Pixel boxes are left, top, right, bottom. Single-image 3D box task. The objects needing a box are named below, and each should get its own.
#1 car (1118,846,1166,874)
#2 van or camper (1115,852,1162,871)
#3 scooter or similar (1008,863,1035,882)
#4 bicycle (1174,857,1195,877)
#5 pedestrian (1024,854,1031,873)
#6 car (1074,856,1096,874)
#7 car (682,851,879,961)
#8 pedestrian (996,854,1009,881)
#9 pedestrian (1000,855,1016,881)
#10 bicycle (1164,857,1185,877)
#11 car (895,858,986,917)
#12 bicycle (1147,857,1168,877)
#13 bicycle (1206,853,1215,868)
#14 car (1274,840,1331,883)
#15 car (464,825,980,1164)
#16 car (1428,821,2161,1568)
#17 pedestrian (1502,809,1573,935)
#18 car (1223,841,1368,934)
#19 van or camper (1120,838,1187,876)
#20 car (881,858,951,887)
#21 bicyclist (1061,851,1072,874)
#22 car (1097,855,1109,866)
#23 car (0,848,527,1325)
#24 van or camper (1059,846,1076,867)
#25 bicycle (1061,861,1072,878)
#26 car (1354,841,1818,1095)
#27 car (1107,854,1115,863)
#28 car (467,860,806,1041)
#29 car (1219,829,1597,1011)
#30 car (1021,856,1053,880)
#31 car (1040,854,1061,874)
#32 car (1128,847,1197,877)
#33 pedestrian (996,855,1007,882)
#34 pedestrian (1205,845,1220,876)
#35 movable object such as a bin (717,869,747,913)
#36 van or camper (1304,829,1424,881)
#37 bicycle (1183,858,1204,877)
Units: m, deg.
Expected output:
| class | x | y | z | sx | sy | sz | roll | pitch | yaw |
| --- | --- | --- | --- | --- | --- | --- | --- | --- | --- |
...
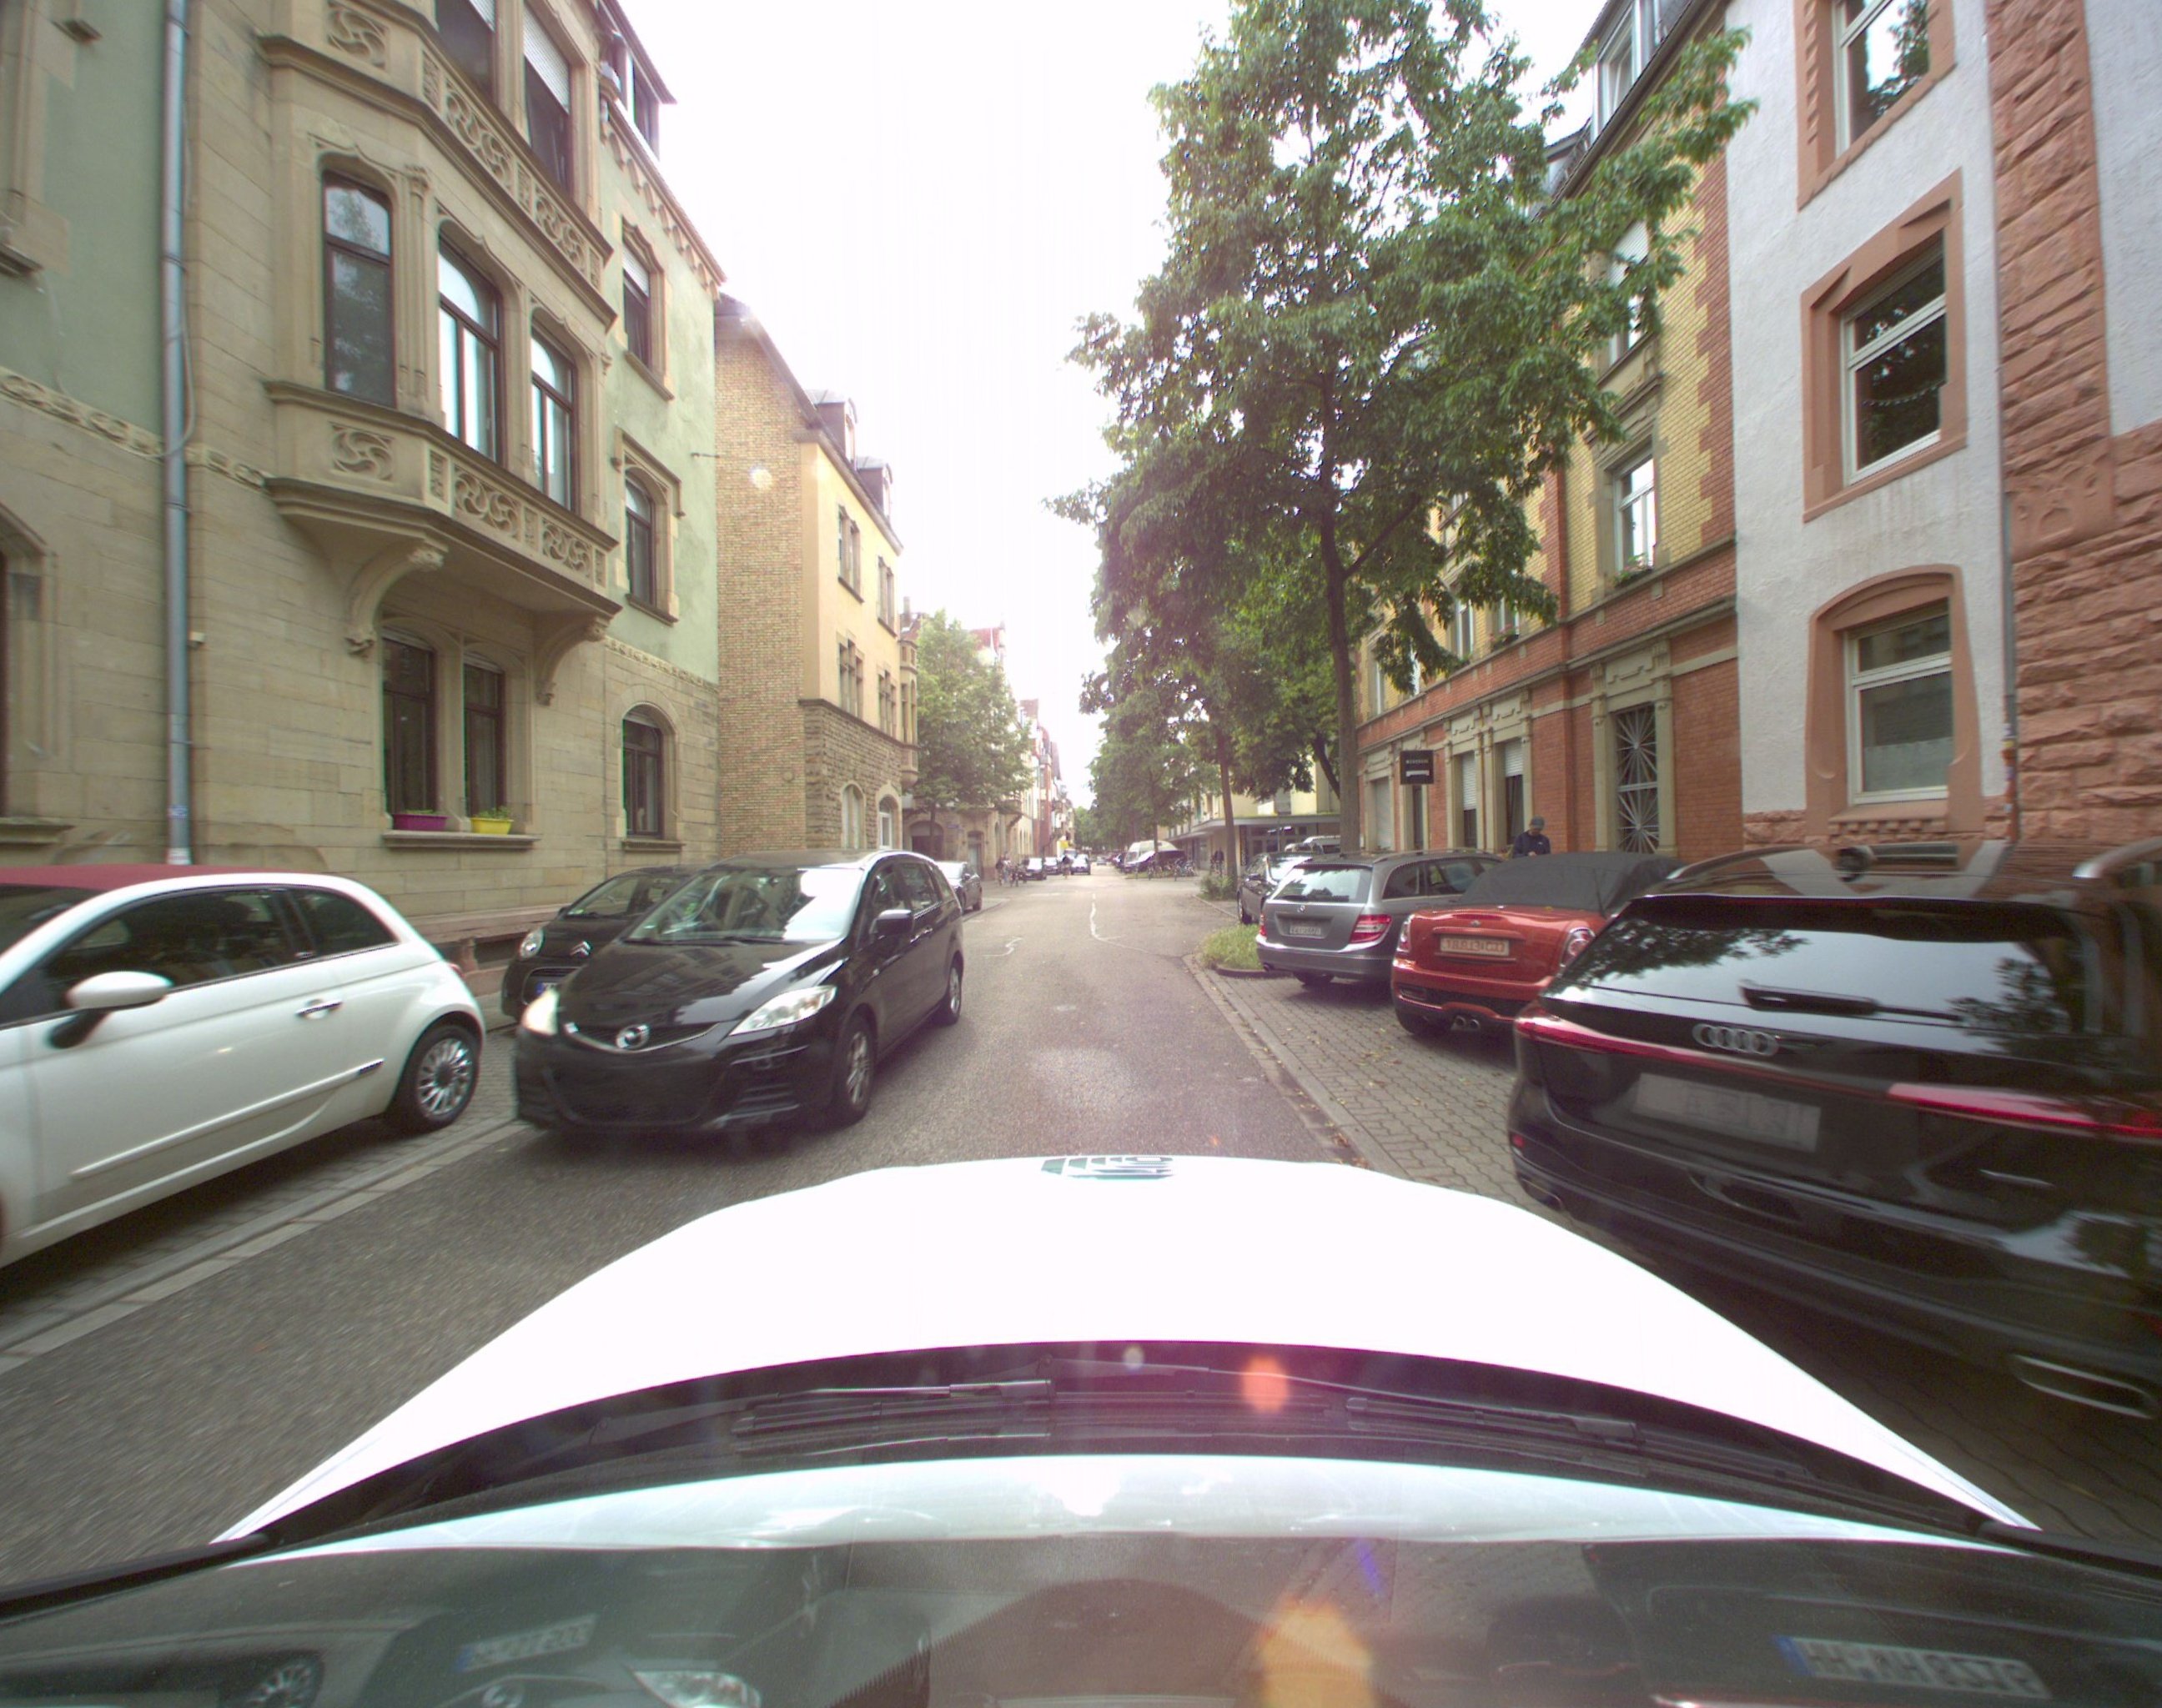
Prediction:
| class | x | y | z | sx | sy | sz | roll | pitch | yaw |
| --- | --- | --- | --- | --- | --- | --- | --- | --- | --- |
| car | 5.112 | 0.471 | 67.967 | 2.040 | 2.196 | 4.427 | -2 | 0 | 34 |
| van or camper | 6.586 | 0.835 | 93.245 | 5.033 | 1.869 | 2.109 | -3 | -1 | -26 |
| scooter or similar | -3.536 | 1.079 | 48.598 | 1.459 | 1.104 | 0.678 | 1 | 0 | 13 |
| bicycle | 6.383 | 0.810 | 50.224 | 0.550 | 1.173 | 1.717 | -1 | 0 | -20 |
| pedestrian | -4.345 | 0.784 | 65.880 | 0.513 | 1.518 | 0.547 | -1 | 0 | 1 |
| car | 0.348 | 0.978 | 69.159 | 1.701 | 1.413 | 3.854 | -2 | -1 | 2 |
| car | -4.416 | 0.681 | 12.585 | 1.584 | 1.434 | 3.810 | 0 | 0 | 0 |
| pedestrian | -4.713 | 0.806 | 49.088 | 0.612 | 1.643 | 0.605 | -1 | 0 | 13 |
| pedestrian | -4.463 | 0.834 | 49.815 | 0.623 | 1.593 | 0.674 | -1 | 0 | 42 |
| bicycle | 5.722 | 0.801 | 49.905 | 0.550 | 1.173 | 1.717 | -1 | 0 | -20 |
| car | -3.770 | 0.850 | 22.458 | 1.721 | 1.434 | 3.883 | 0 | 0 | 2 |
| bicycle | 4.595 | 0.782 | 49.067 | 0.550 | 1.173 | 1.717 | -1 | 0 | -20 |
| bicycle | 9.982 | 0.509 | 62.821 | 0.482 | 1.090 | 1.702 | -1 | 0 | 4 |
| car | 10.194 | 0.335 | 37.773 | 1.762 | 1.819 | 4.004 | -2 | 0 | 4 |
| car | -2.041 | 0.711 | 6.102 | 1.802 | 1.630 | 4.210 | -1 | -1 | 3 |
| car | 3.325 | 0.635 | 3.214 | 3.705 | 1.466 | 1.689 | -2 | 0 | -30 |
| pedestrian | 6.533 | 0.247 | 11.692 | 0.595 | 1.733 | 0.663 | -2 | 0 | 0 |
| car | 4.070 | 0.579 | 16.221 | 1.758 | 1.486 | 4.481 | -3 | 0 | 1 |
| van or camper | 5.283 | 0.177 | 59.178 | 4.612 | 2.596 | 1.892 | -2 | 0 | -31 |
| car | -9.563 | 1.071 | 47.402 | 3.546 | 1.460 | 1.655 | -2 | 2 | 10 |
| bicyclist | -1.020 | 0.599 | 56.875 | 0.645 | 1.538 | 0.677 | -2 | -1 | 4 |
| car | 3.903 | 1.141 | 143.453 | 1.986 | 1.794 | 4.002 | 0 | -1 | 2 |
| car | -4.304 | 0.747 | 3.388 | 1.662 | 1.511 | 3.550 | -1 | 0 | -3 |
| van or camper | -1.858 | 0.266 | 114.881 | 2.000 | 2.651 | 5.319 | -2 | 3 | 2 |
| bicycle | -1.005 | 1.081 | 56.826 | 0.631 | 1.094 | 1.801 | -1 | -1 | 4 |
| car | 4.177 | 0.651 | 6.563 | 3.899 | 1.435 | 1.728 | -1 | 0 | -34 |
| car | 7.233 | 1.157 | 197.653 | 1.986 | 2.013 | 4.001 | 2 | 0 | 1 |
| car | -4.235 | 0.802 | 8.412 | 1.511 | 1.434 | 3.457 | 0 | 0 | 2 |
| car | 3.765 | 0.559 | 9.028 | 4.465 | 1.427 | 1.739 | -3 | 0 | -36 |
| car | -2.843 | 0.926 | 53.713 | 1.702 | 1.495 | 4.003 | 0 | -1 | 3 |
| car | -2.547 | 0.845 | 68.405 | 1.641 | 1.570 | 2.957 | 0 | 1 | 1 |
| car | 5.657 | 0.548 | 56.520 | 4.352 | 1.854 | 1.896 | -2 | 0 | -24 |
| pedestrian | -4.712 | 0.861 | 48.413 | 0.524 | 1.643 | 0.530 | 0 | 0 | 13 |
| pedestrian | 7.638 | 0.385 | 47.252 | 0.775 | 1.797 | 0.510 | -1 | 0 | 3 |
| movable object such as a bin | -8.512 | 0.896 | 19.876 | 0.437 | 1.062 | 0.552 | -1 | 0 | 2 |
| van or camper | 14.979 | 0.055 | 43.460 | 5.738 | 2.494 | 2.142 | -2 | 3 | 8 |
| bicycle | 6.962 | 0.820 | 50.590 | 0.550 | 1.173 | 1.686 | -1 | 0 | -20 |
